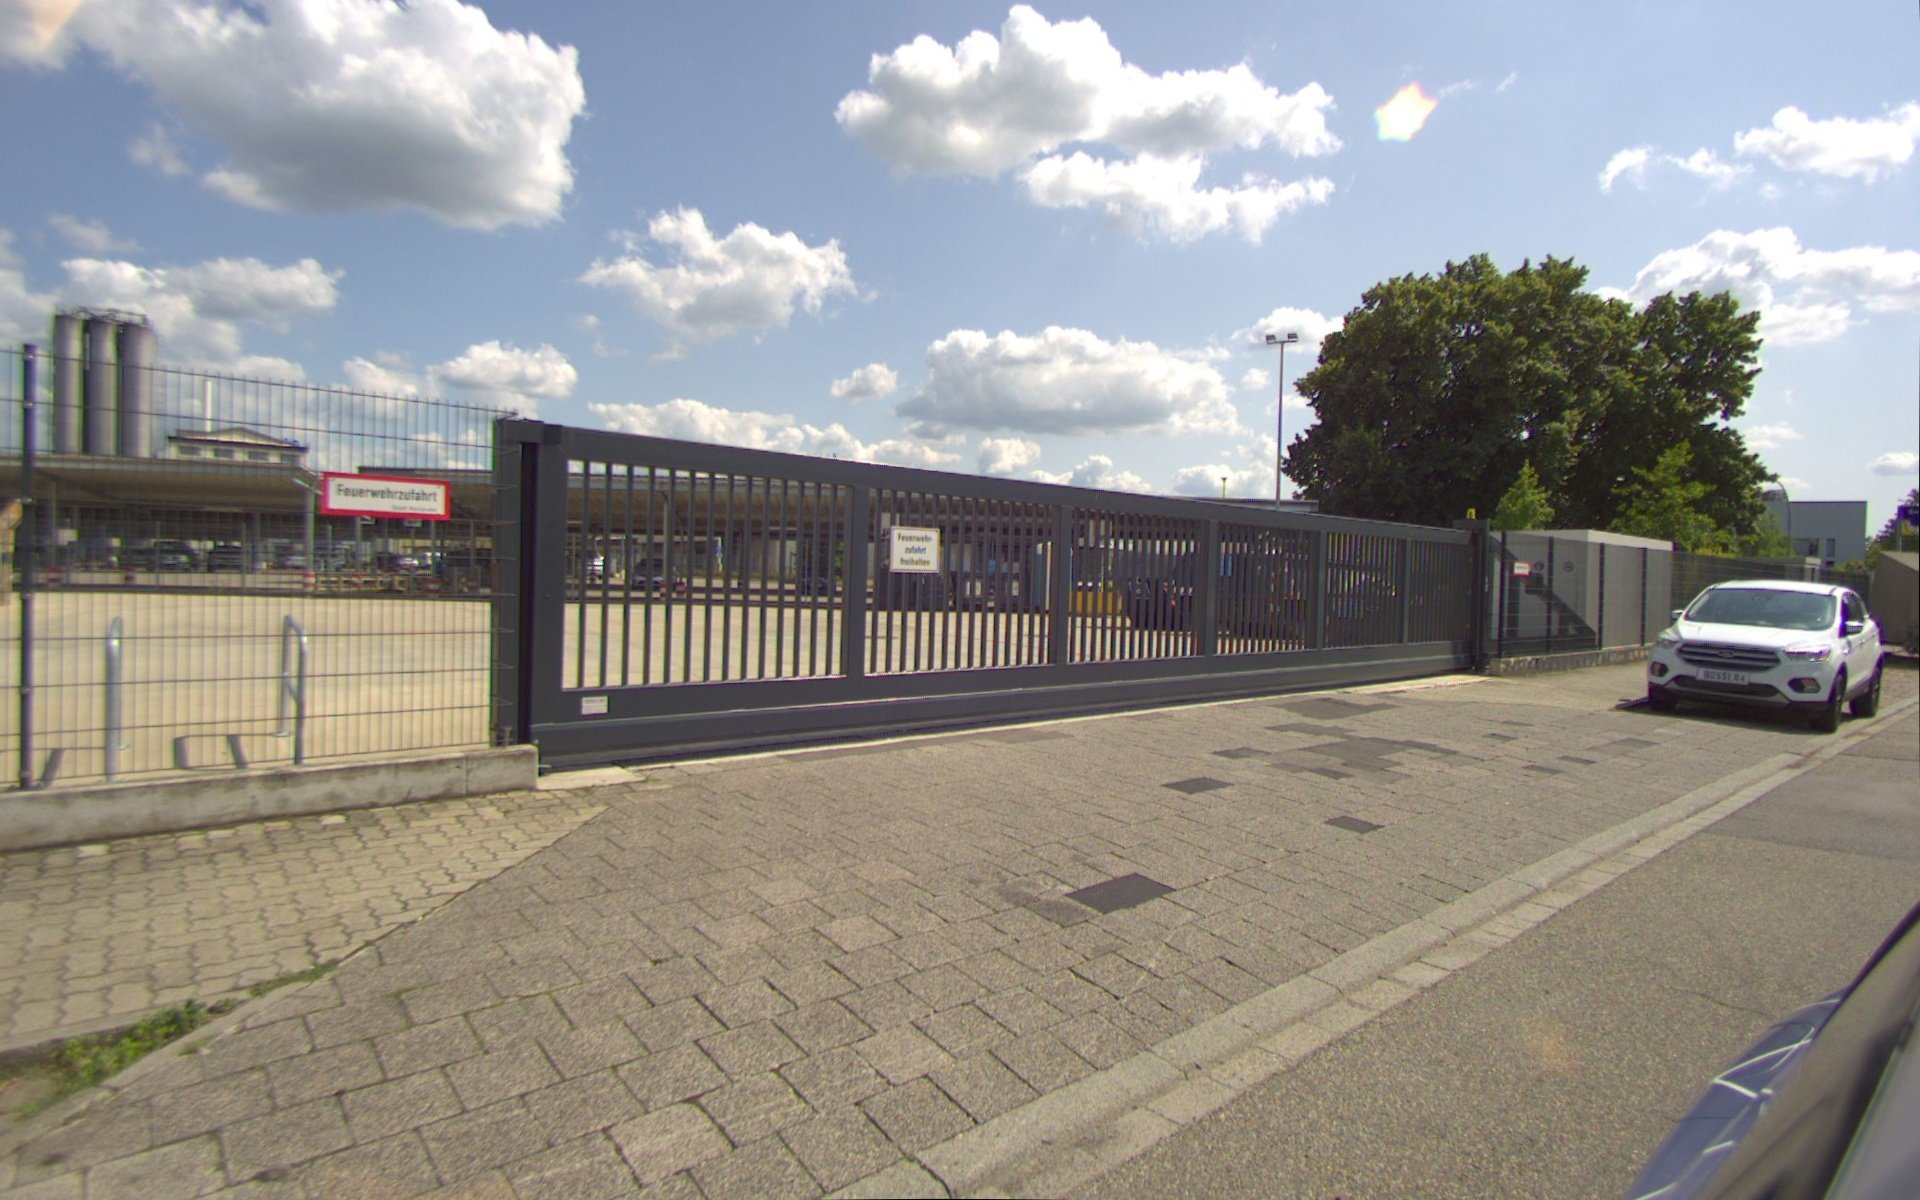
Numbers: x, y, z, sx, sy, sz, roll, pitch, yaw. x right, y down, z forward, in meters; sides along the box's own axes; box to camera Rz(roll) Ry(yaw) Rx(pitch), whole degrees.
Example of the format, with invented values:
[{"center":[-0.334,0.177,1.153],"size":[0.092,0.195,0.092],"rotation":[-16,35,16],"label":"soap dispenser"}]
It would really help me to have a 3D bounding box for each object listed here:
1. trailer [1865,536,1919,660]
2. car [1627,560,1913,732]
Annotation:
[{"center":[24.243,-0.037,24.780],"size":[6.114,2.769,2.210],"rotation":[-1,5,-41],"label":"trailer"},{"center":[10.415,0.461,12.888],"size":[4.597,1.714,1.940],"rotation":[0,4,-41],"label":"car"}]
